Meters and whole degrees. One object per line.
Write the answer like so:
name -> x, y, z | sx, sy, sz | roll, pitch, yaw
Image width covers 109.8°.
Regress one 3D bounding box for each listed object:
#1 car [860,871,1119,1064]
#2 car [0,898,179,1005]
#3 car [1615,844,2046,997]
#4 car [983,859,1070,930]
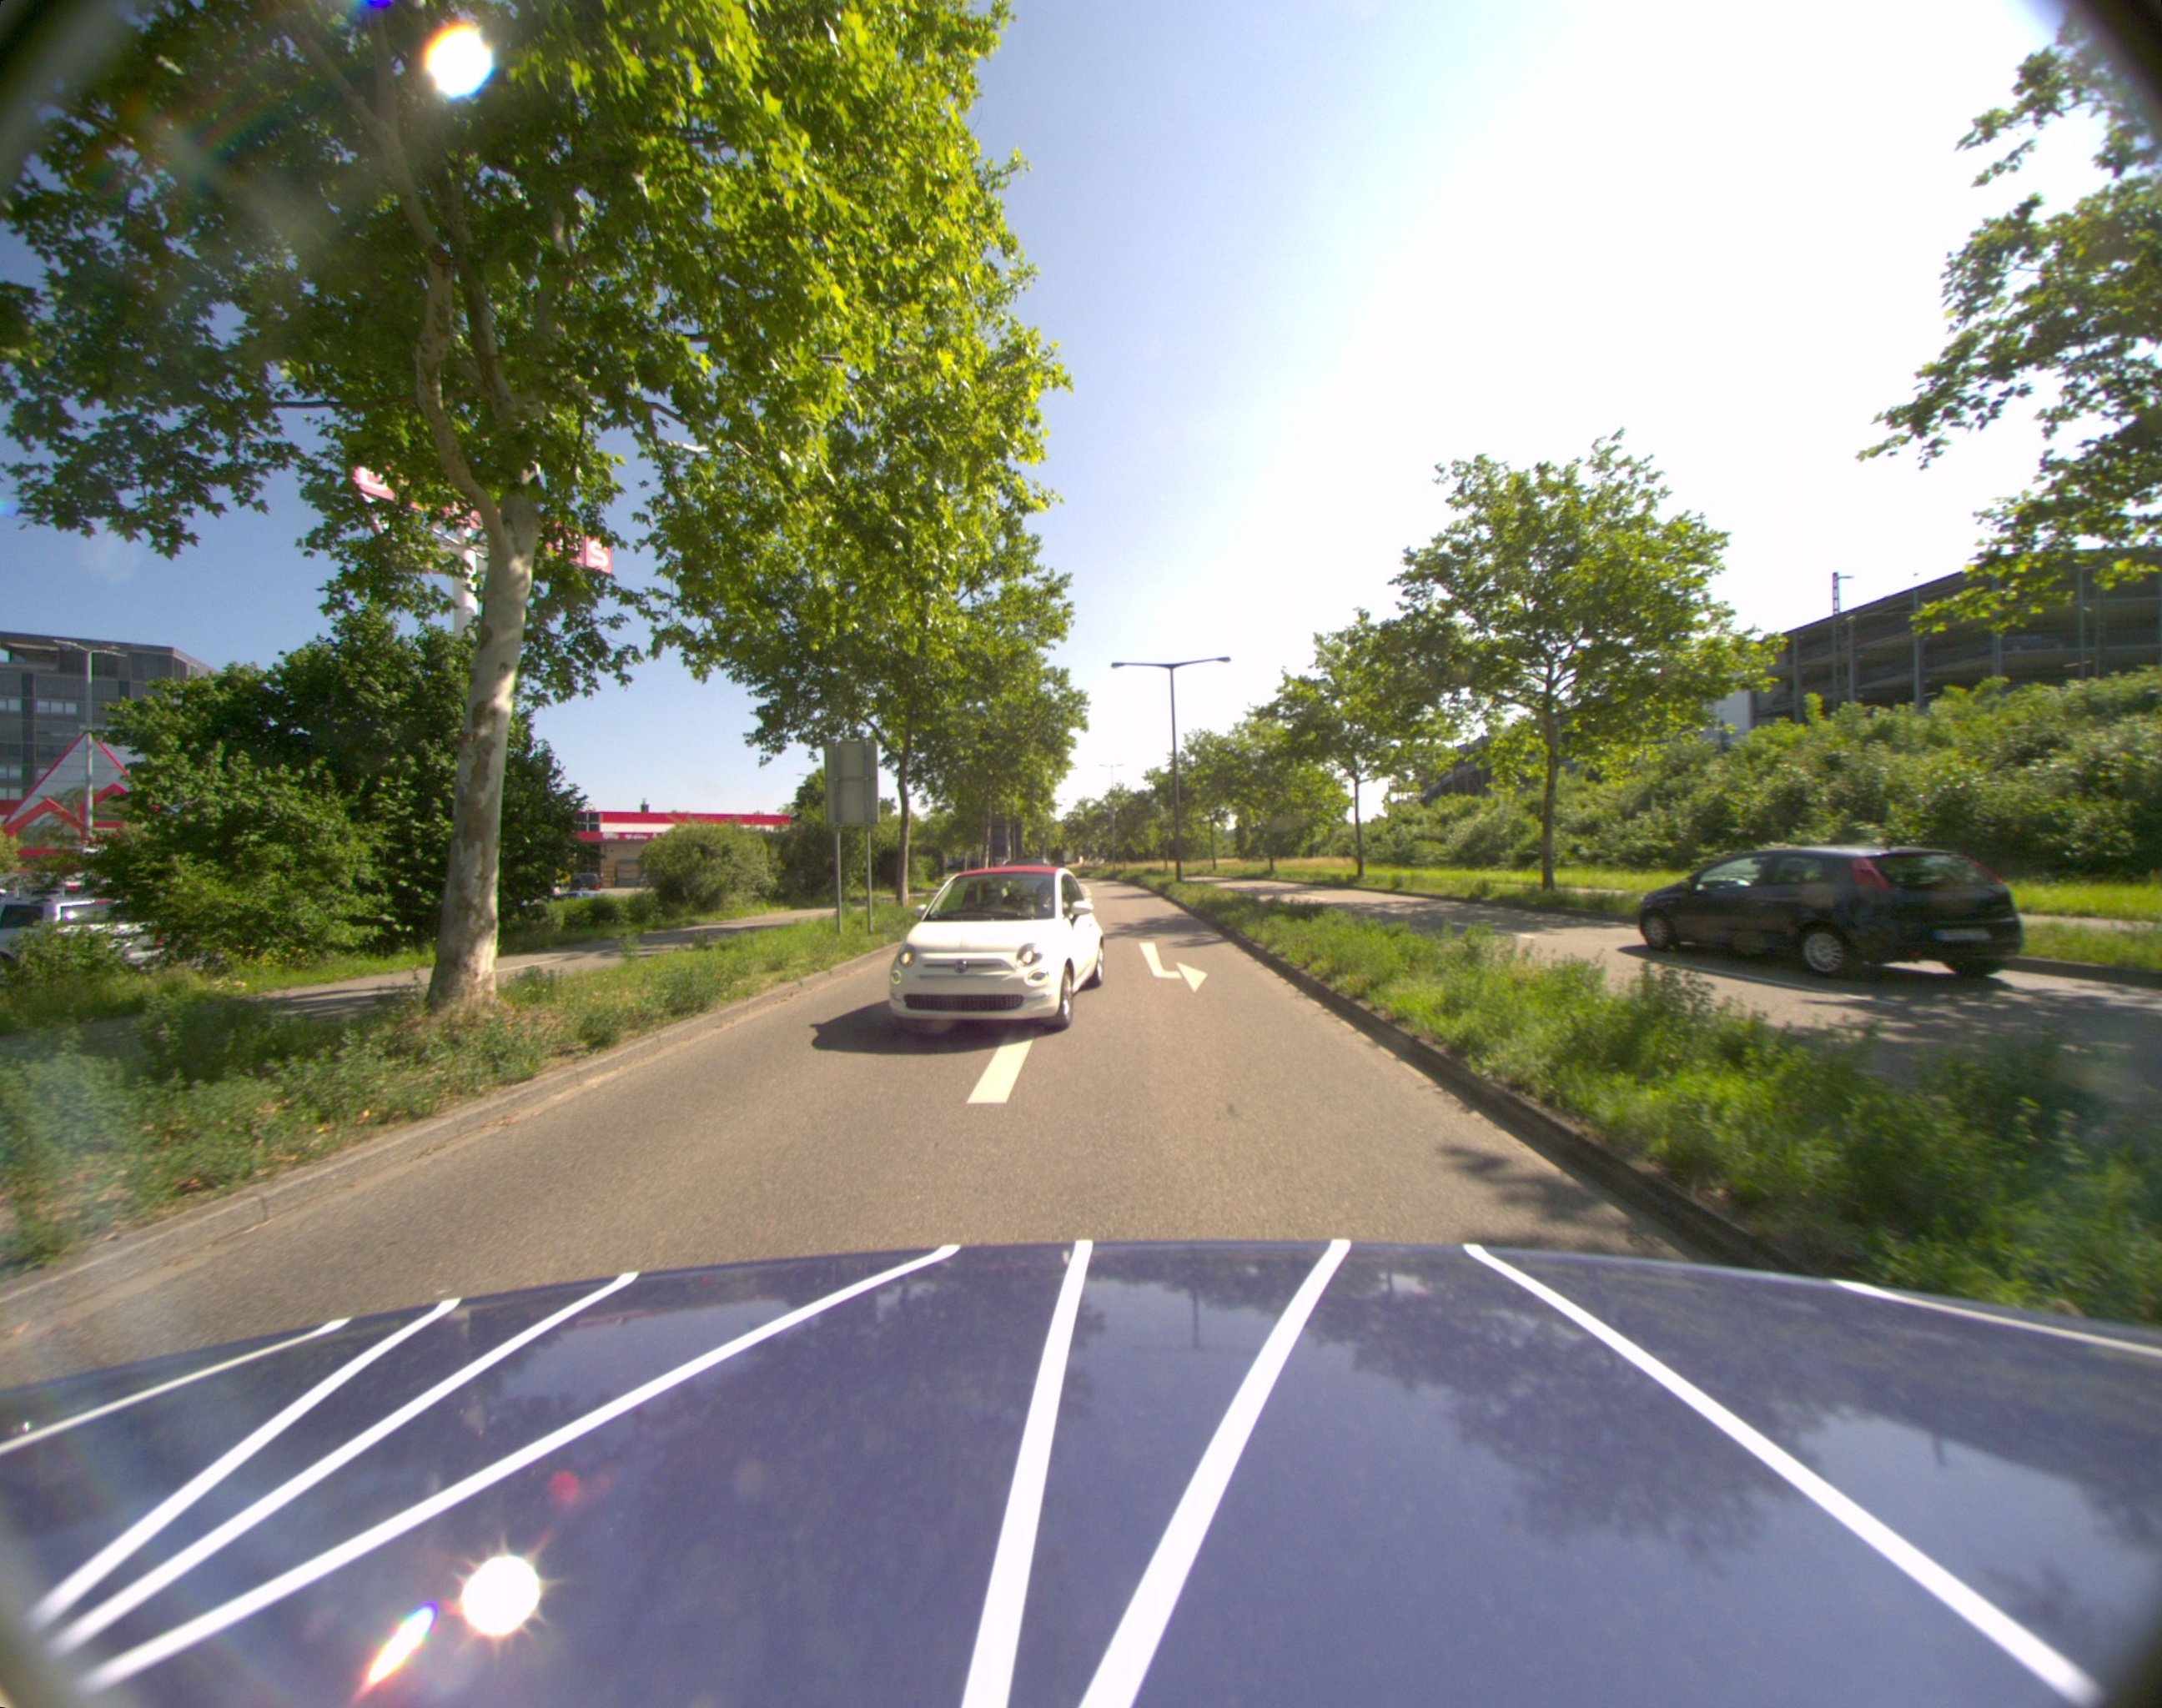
car -> -0.686, 0.984, 7.951 | 1.664, 1.428, 3.522 | -3, 0, 10
car -> -21.237, 1.938, 14.879 | 4.979, 1.805, 1.807 | -3, 1, 1
car -> 8.888, 0.655, 9.574 | 1.574, 1.461, 3.927 | -3, 0, 1
car -> -1.387, 1.029, 21.096 | 1.924, 1.613, 4.565 | -3, 0, 1
